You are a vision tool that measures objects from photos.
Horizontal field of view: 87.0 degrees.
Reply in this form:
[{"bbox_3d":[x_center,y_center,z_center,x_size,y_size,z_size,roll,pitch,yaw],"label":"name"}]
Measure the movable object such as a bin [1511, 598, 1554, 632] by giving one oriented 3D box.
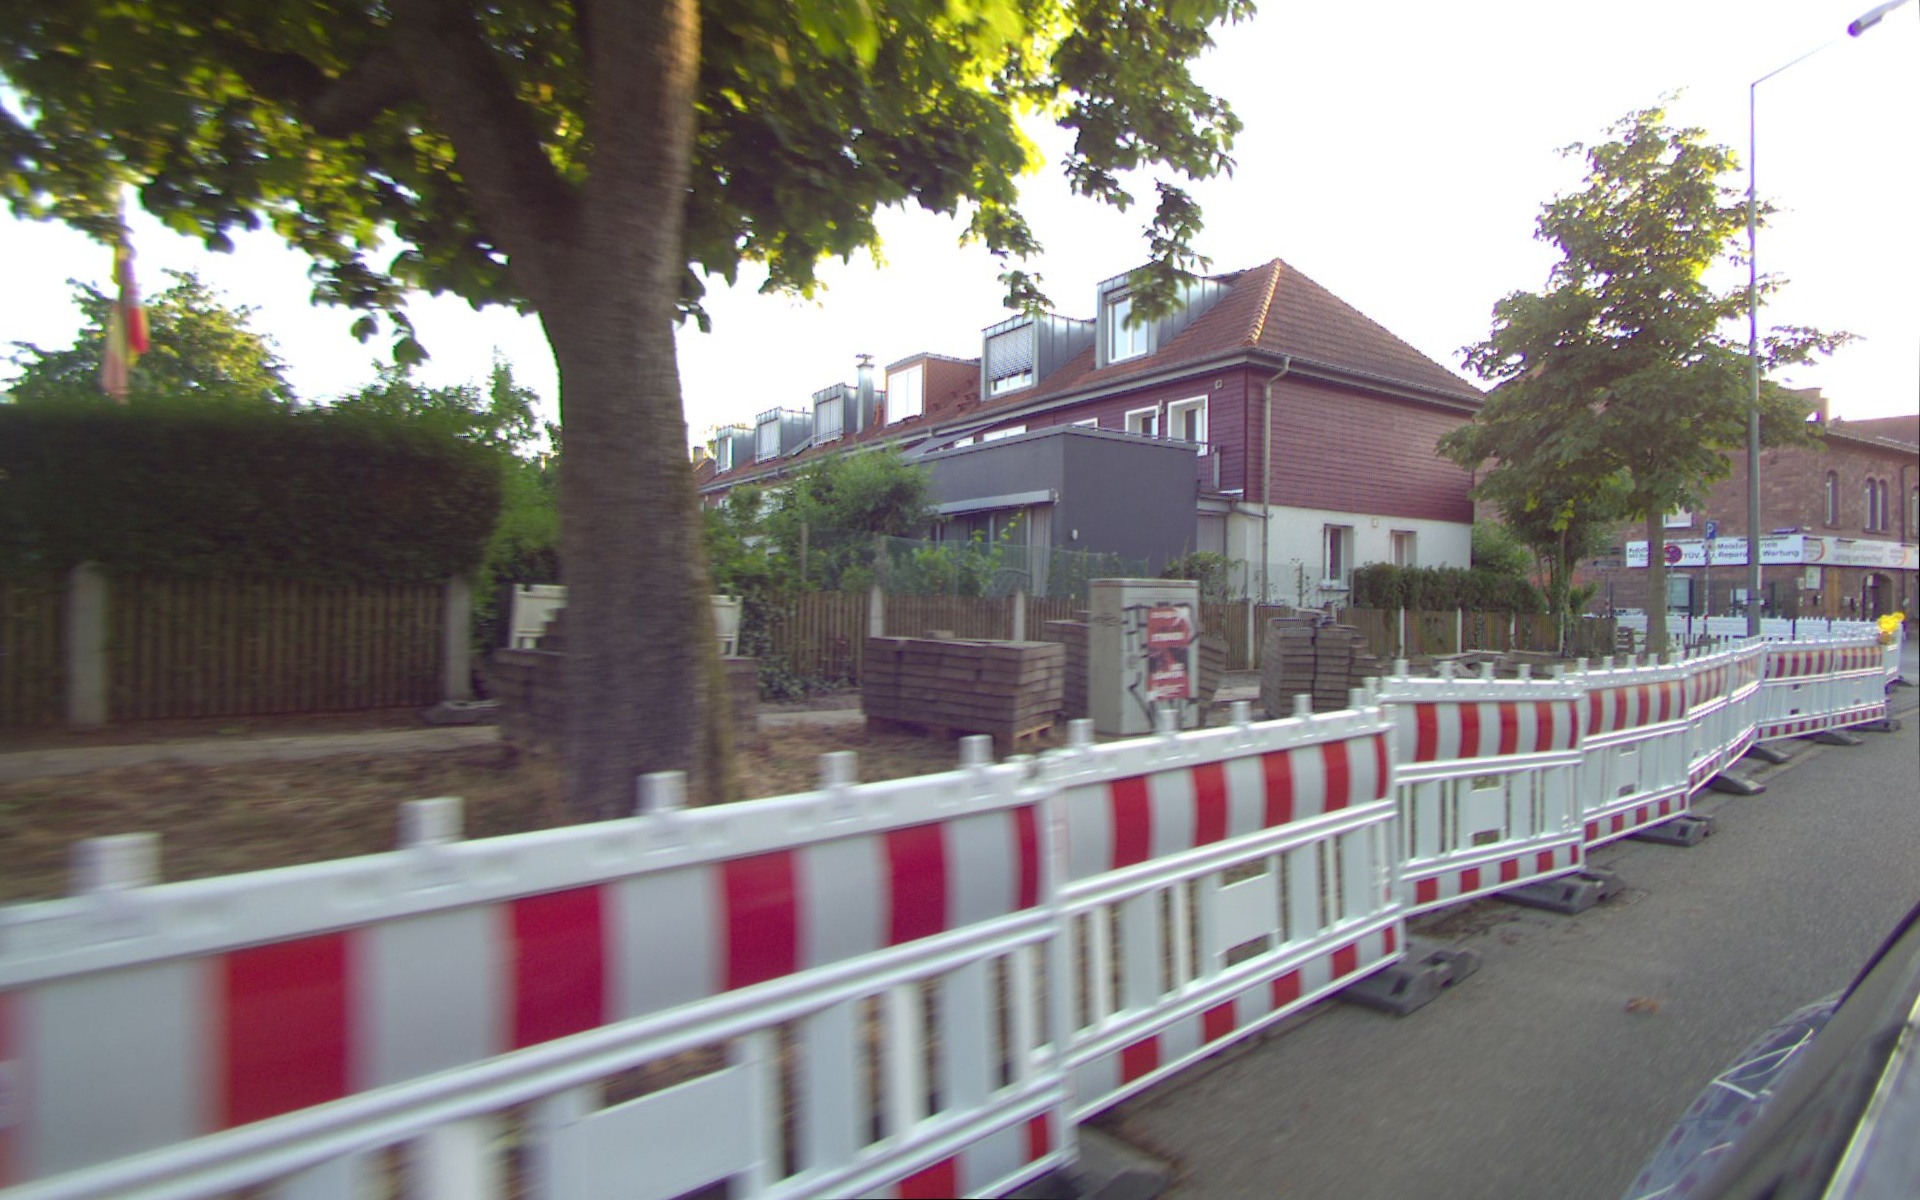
[{"bbox_3d":[25.079,0.657,44.332,1.075,1.462,1.266,1,-1,-29],"label":"movable object such as a bin"}]
